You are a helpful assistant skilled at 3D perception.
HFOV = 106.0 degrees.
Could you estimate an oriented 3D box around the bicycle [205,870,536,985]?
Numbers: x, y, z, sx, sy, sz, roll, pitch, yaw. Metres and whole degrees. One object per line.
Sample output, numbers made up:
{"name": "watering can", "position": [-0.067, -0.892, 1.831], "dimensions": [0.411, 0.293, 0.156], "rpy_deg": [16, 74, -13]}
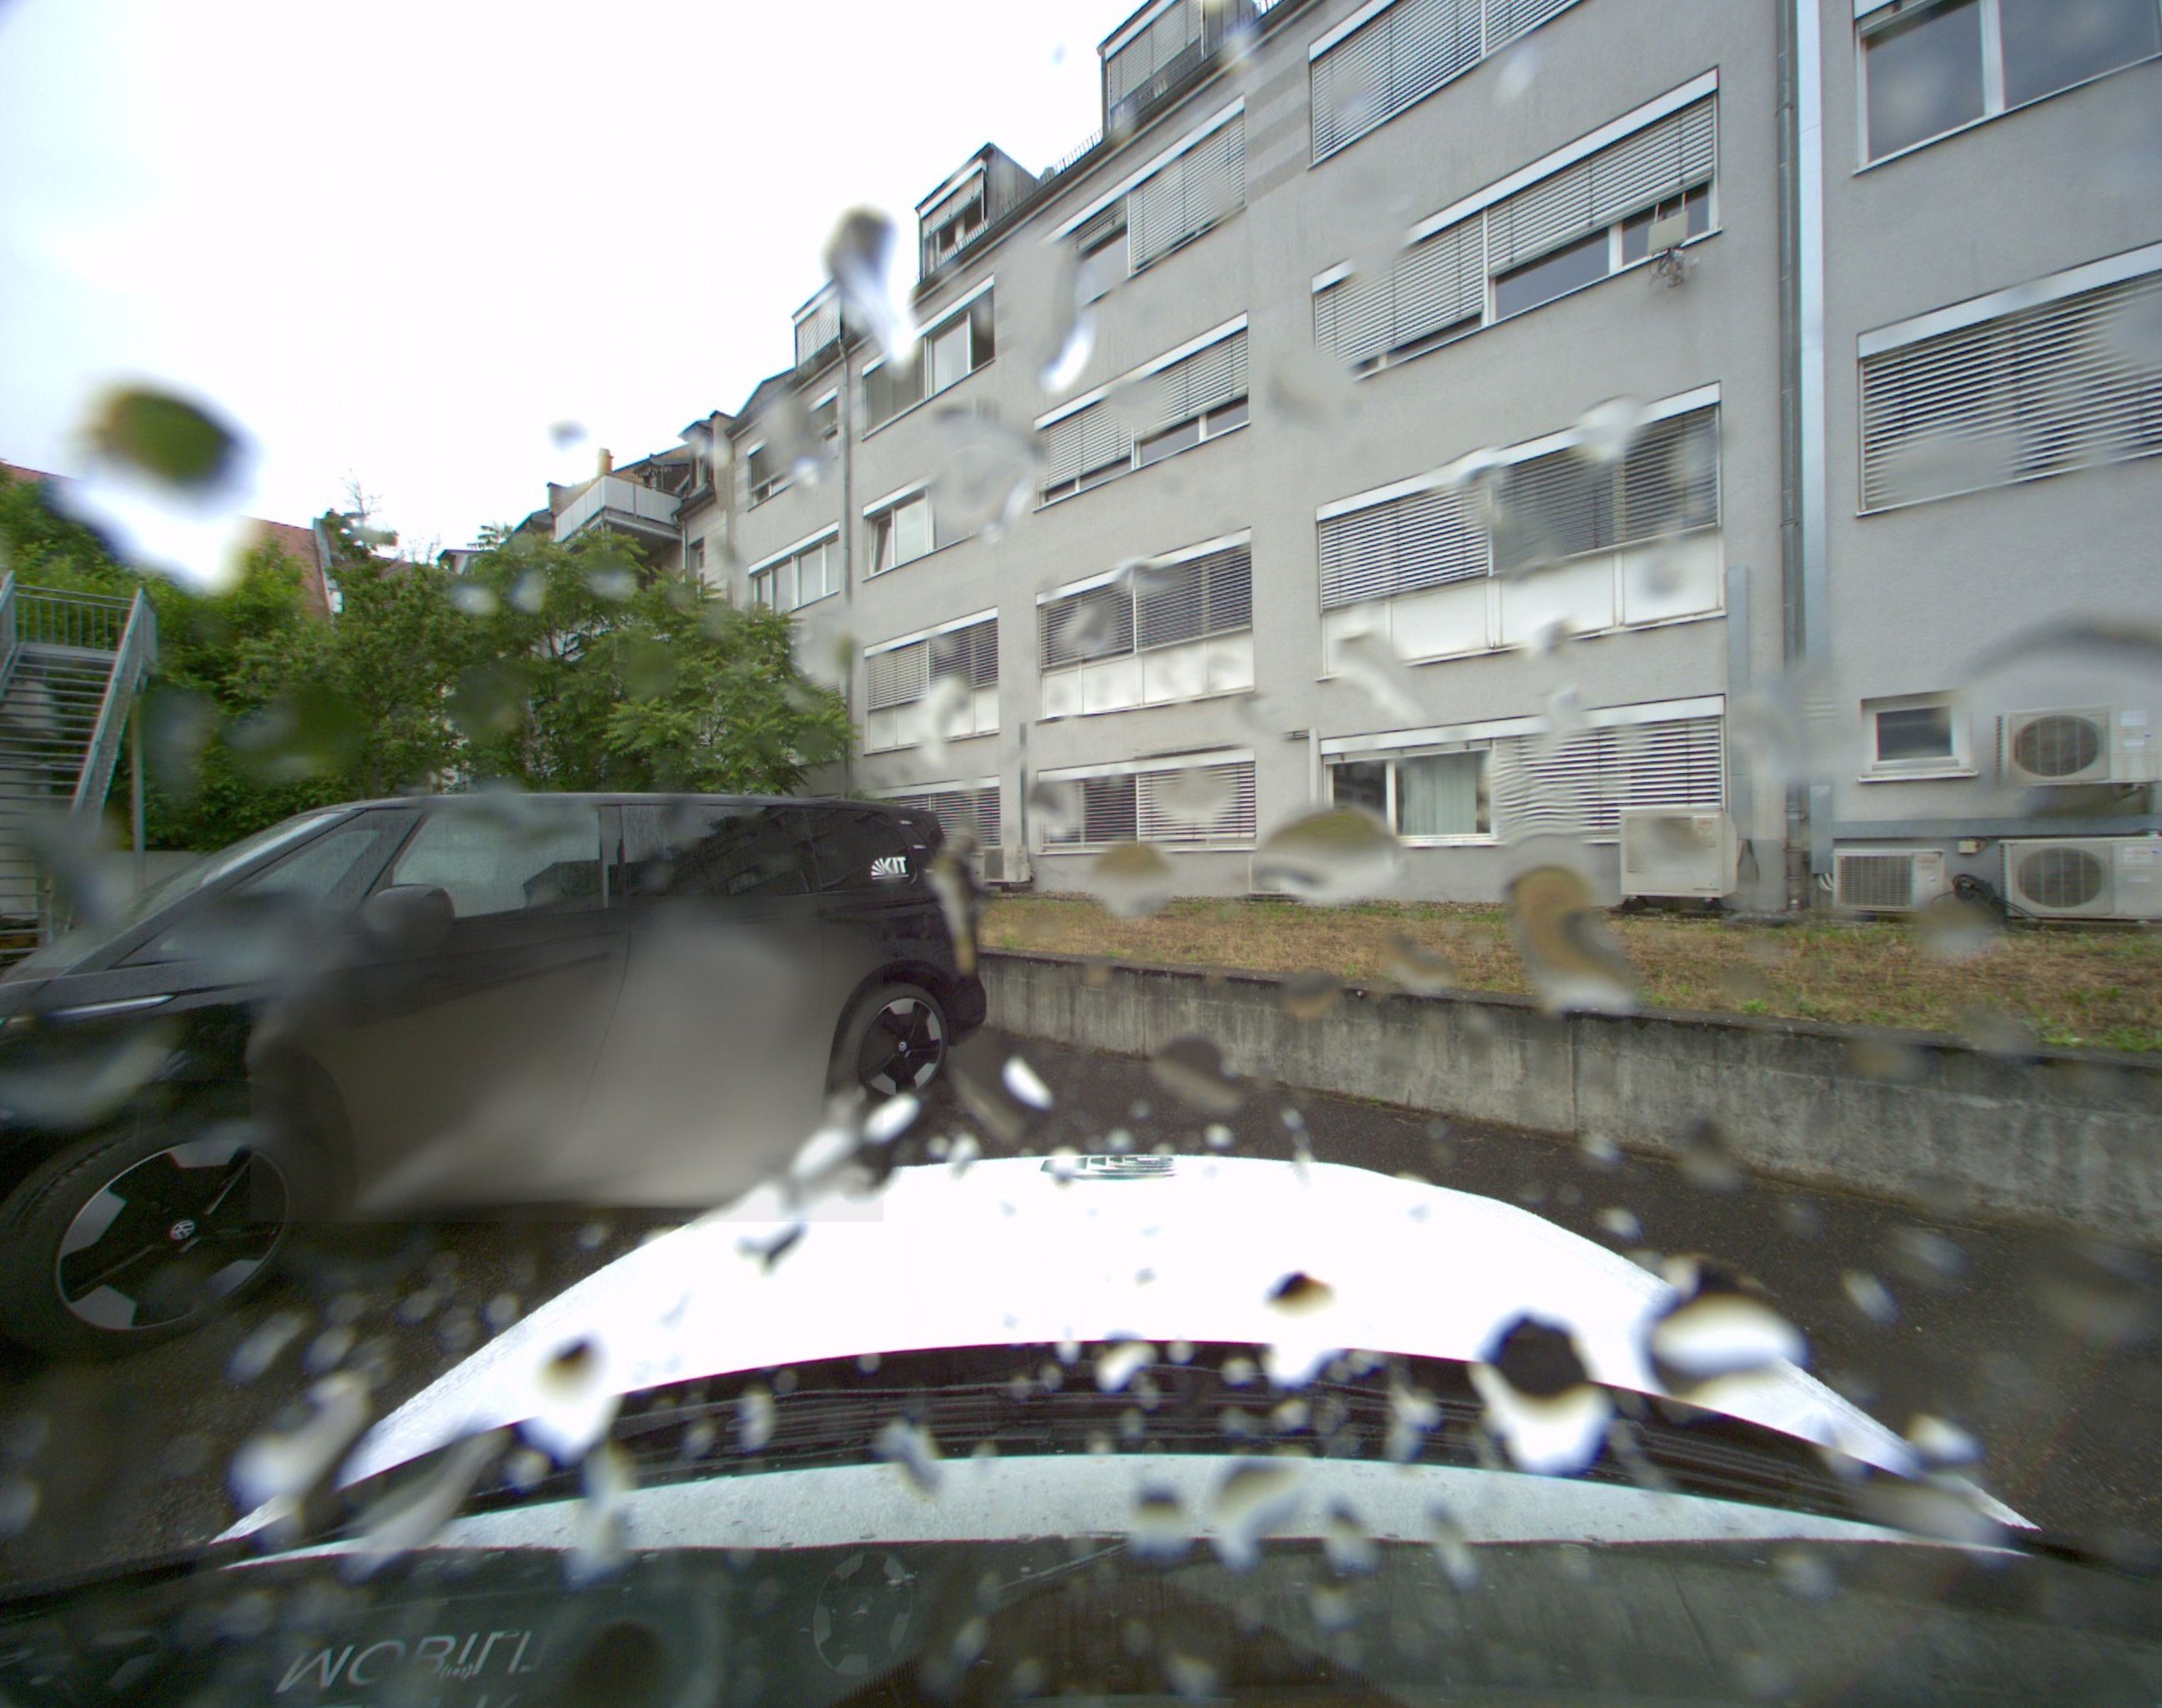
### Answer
{"name": "bicycle", "position": [-9.239, 0.885, 10.829], "dimensions": [0.623, 1.242, 3.243], "rpy_deg": [-3, -1, 44]}

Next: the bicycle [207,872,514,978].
{"name": "bicycle", "position": [-10.193, 0.943, 11.735], "dimensions": [0.623, 1.242, 3.243], "rpy_deg": [-3, -1, 44]}

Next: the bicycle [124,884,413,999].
{"name": "bicycle", "position": [-9.447, 0.958, 9.628], "dimensions": [2.349, 1.104, 0.625], "rpy_deg": [-1, 0, -44]}

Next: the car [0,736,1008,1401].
{"name": "car", "position": [-2.743, 0.610, 4.357], "dimensions": [2.020, 1.897, 4.551], "rpy_deg": [-2, -1, 39]}

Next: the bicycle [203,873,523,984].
{"name": "bicycle", "position": [-9.742, 0.943, 11.272], "dimensions": [0.623, 1.242, 3.243], "rpy_deg": [-3, -1, 44]}

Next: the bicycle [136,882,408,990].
{"name": "bicycle", "position": [-9.937, 0.958, 10.151], "dimensions": [2.349, 1.104, 0.625], "rpy_deg": [-1, 0, -44]}

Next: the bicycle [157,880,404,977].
{"name": "bicycle", "position": [-10.814, 0.960, 11.137], "dimensions": [2.349, 1.104, 0.625], "rpy_deg": [-1, 0, -44]}

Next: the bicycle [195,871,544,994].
{"name": "bicycle", "position": [-8.772, 0.894, 10.287], "dimensions": [0.623, 1.242, 3.243], "rpy_deg": [-3, -1, 44]}

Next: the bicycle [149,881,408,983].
{"name": "bicycle", "position": [-10.359, 0.959, 10.653], "dimensions": [2.349, 1.104, 0.625], "rpy_deg": [-1, 0, -44]}
